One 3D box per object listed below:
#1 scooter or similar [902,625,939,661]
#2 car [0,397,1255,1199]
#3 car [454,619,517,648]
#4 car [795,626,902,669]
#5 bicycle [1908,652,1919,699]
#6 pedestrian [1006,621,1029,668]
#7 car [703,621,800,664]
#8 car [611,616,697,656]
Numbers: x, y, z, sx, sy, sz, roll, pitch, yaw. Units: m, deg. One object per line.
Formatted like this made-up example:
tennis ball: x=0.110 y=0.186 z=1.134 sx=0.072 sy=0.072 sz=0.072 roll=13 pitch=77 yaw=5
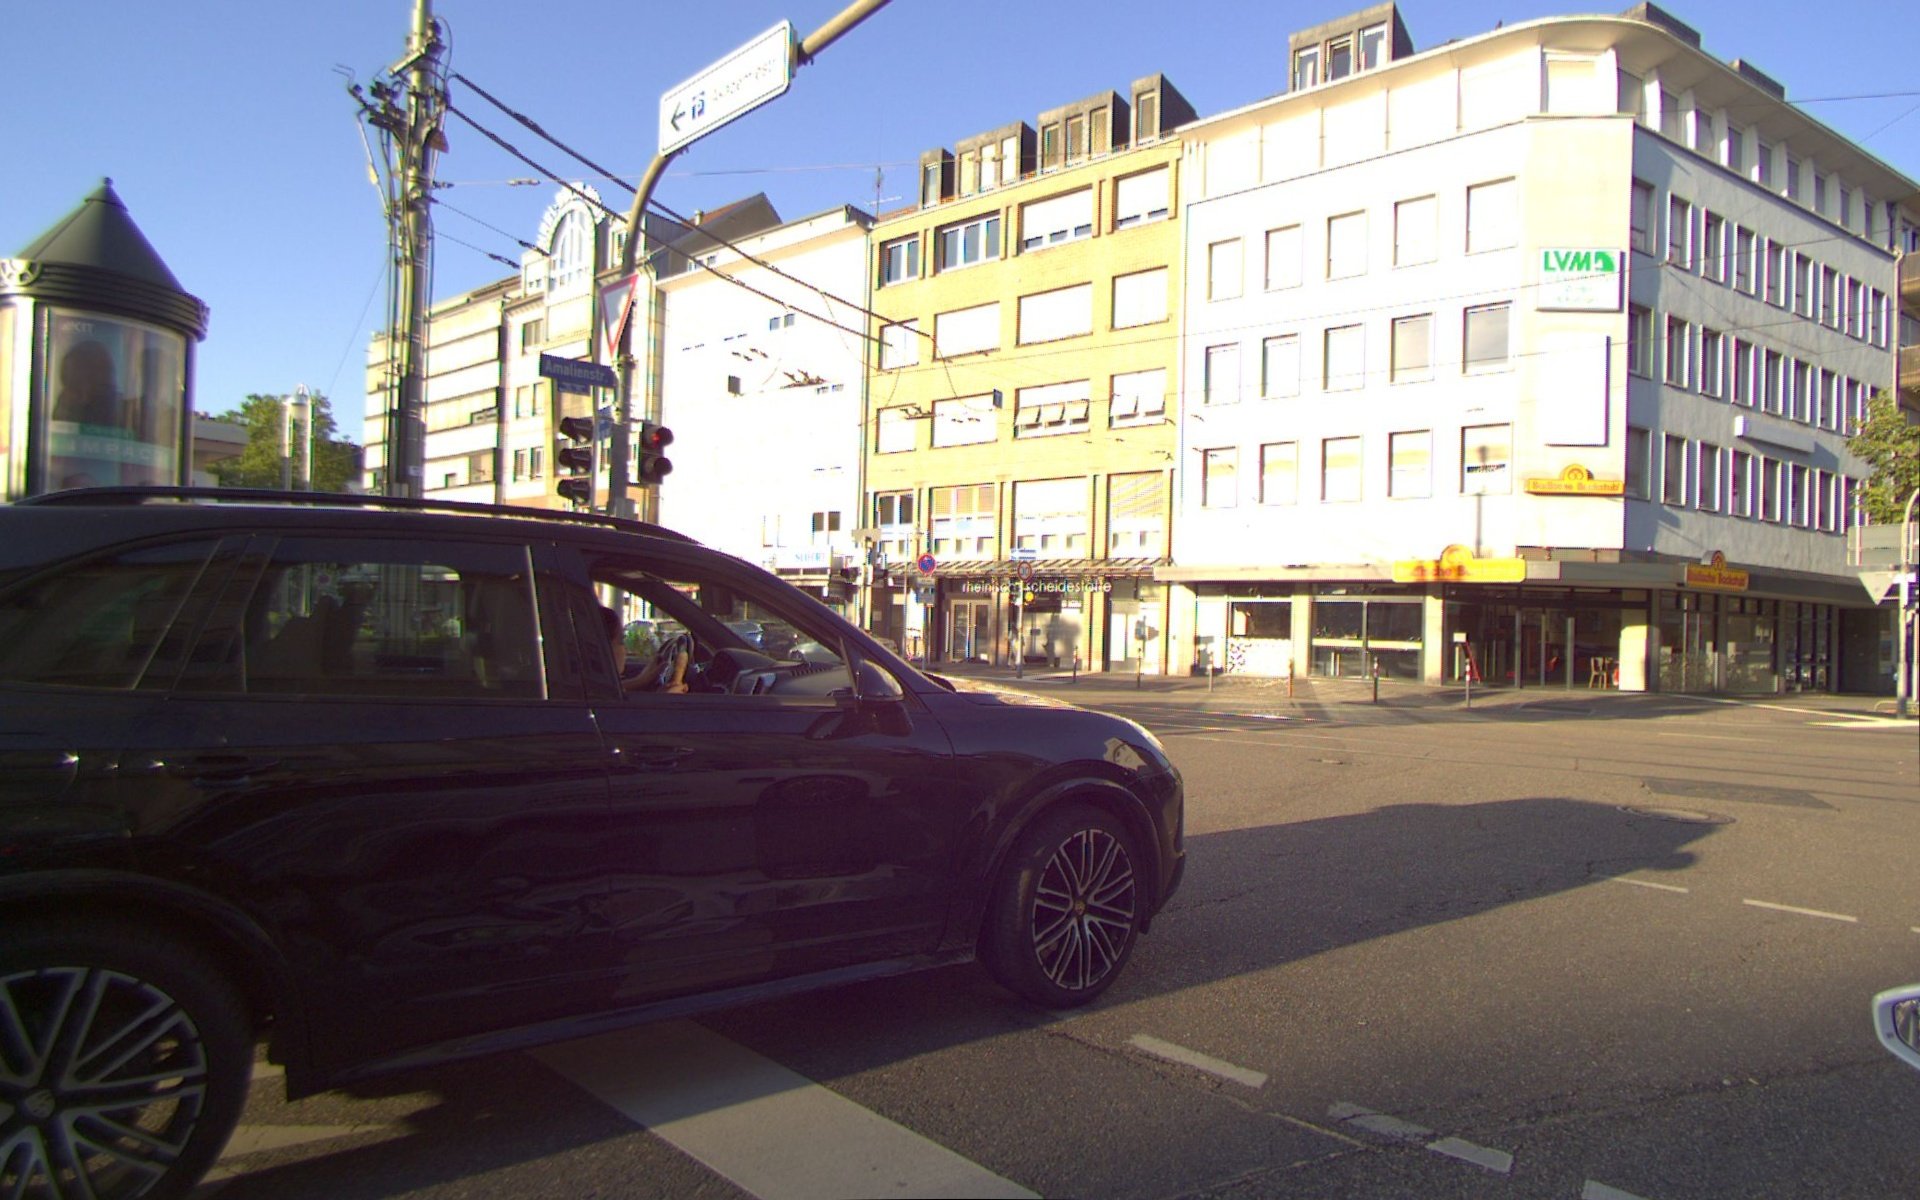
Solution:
scooter or similar: x=-1.451 y=1.547 z=36.366 sx=1.444 sy=1.275 sz=0.394 roll=0 pitch=0 yaw=39
car: x=-1.214 y=0.505 z=3.526 sx=4.520 sy=1.720 sz=1.790 roll=3 pitch=-1 yaw=-33
car: x=-22.576 y=1.571 z=47.743 sx=3.097 sy=1.309 sz=1.455 roll=0 pitch=0 yaw=38
car: x=-3.703 y=1.527 z=33.253 sx=3.335 sy=1.270 sz=1.630 roll=0 pitch=0 yaw=38
bicycle: x=27.034 y=2.102 z=26.831 sx=0.633 sy=1.269 sz=2.353 roll=3 pitch=0 yaw=-33
pedestrian: x=1.895 y=1.450 z=32.892 sx=0.613 sy=1.492 sz=0.543 roll=0 pitch=2 yaw=22
car: x=-7.459 y=1.488 z=35.918 sx=3.335 sy=1.372 sz=1.630 roll=0 pitch=0 yaw=38
car: x=-12.191 y=1.397 z=39.957 sx=3.335 sy=1.484 sz=1.630 roll=0 pitch=0 yaw=38
